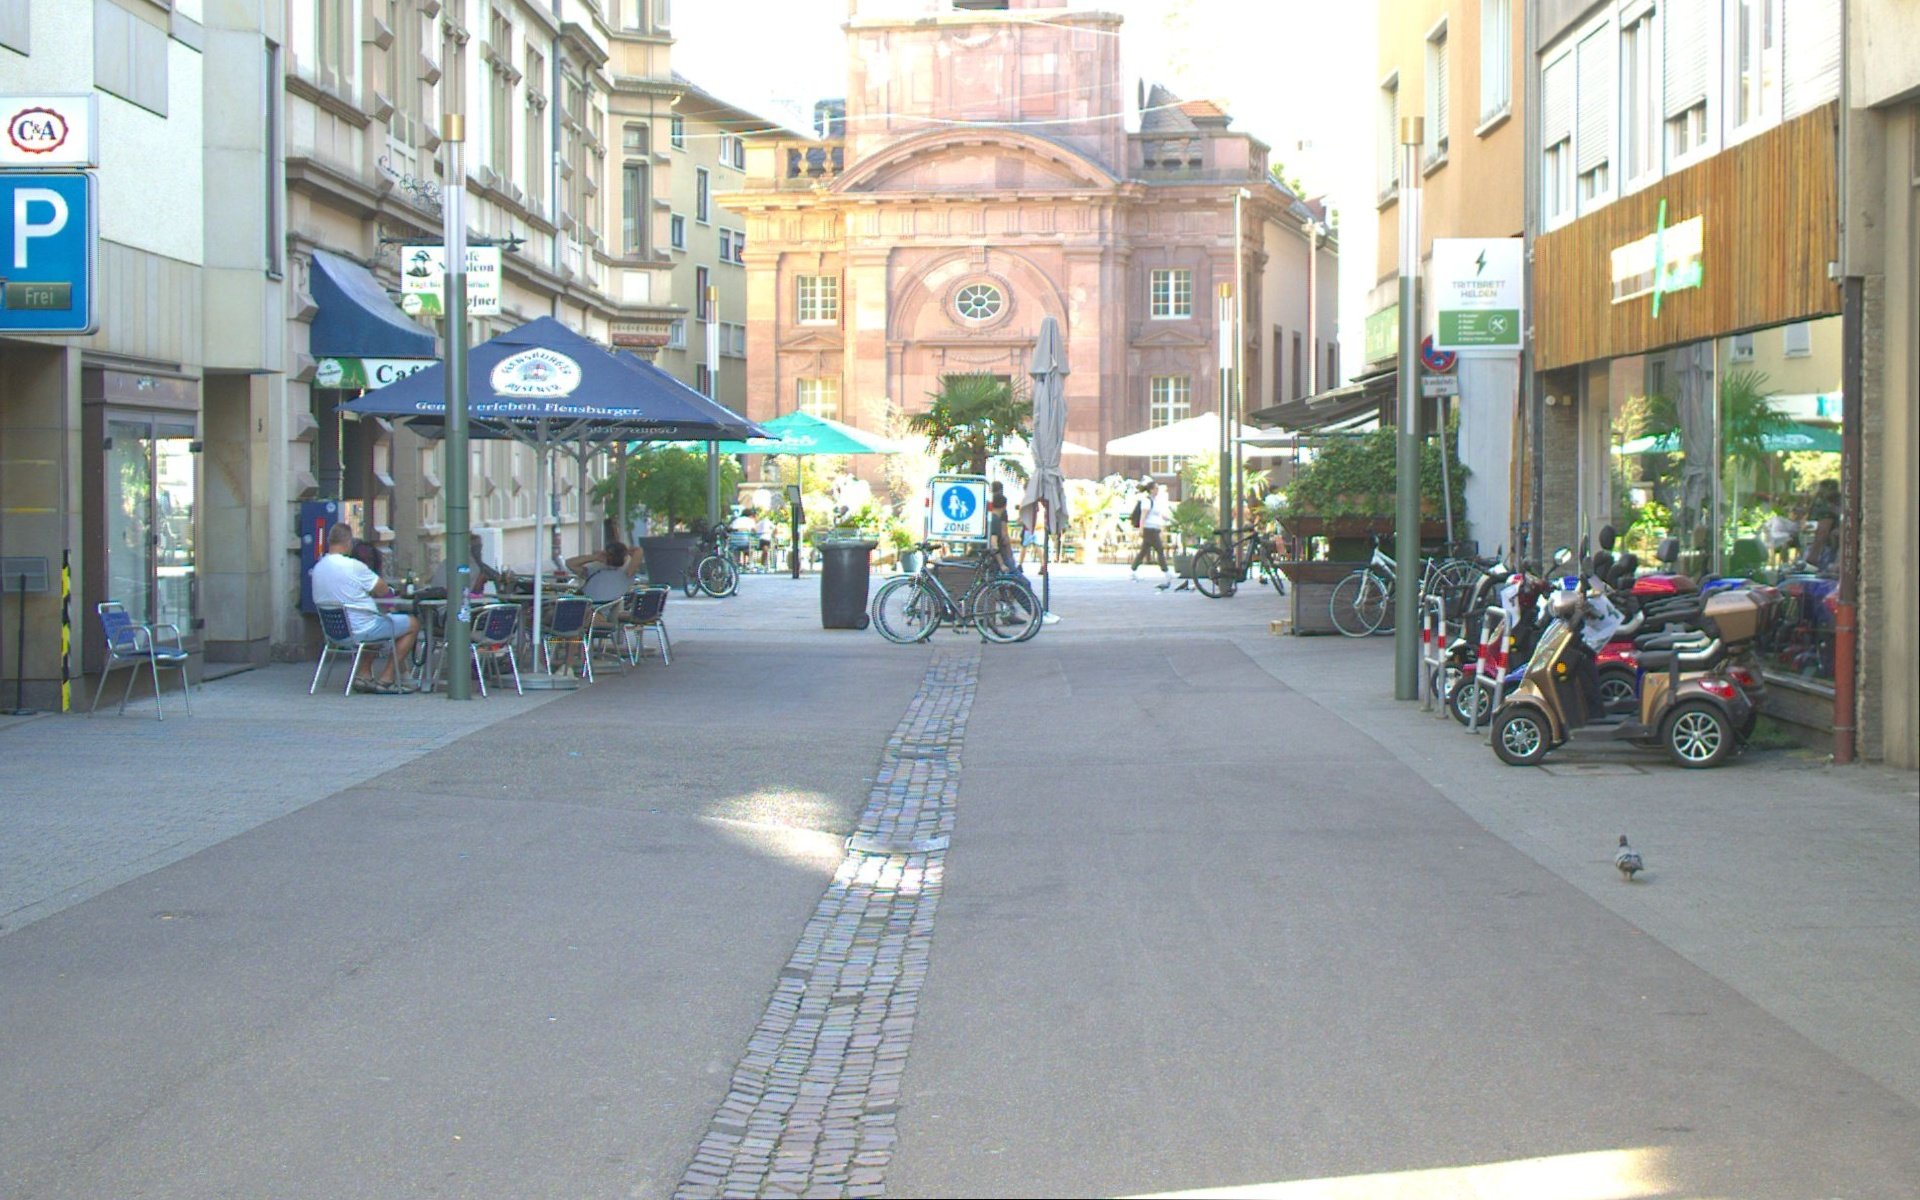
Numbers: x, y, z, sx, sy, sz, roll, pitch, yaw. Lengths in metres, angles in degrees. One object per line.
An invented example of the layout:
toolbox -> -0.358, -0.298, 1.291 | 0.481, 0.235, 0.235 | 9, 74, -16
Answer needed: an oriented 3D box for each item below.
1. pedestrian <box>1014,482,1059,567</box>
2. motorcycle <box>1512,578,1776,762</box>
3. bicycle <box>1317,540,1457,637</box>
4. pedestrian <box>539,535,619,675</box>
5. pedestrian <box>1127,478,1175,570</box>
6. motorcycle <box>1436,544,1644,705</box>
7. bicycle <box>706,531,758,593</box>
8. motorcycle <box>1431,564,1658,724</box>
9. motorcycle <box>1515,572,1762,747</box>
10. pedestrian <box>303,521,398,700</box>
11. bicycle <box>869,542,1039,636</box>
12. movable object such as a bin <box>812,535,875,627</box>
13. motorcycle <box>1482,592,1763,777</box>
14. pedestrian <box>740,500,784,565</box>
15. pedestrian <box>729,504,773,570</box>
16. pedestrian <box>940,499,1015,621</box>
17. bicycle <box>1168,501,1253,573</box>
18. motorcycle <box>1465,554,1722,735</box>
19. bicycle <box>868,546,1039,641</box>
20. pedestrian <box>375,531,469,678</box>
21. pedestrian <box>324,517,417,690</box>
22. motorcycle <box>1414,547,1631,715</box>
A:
pedestrian -> 1.472, -1.458, 66.198 | 0.611, 1.635, 0.658 | -1, 2, -32
motorcycle -> 4.108, 0.411, 20.658 | 1.518, 1.072, 0.412 | 0, 1, 19
bicycle -> 4.539, -0.124, 36.515 | 1.464, 1.001, 0.573 | 0, 2, 8
pedestrian -> -3.355, 0.036, 30.236 | 0.692, 1.211, 0.583 | 0, 2, -7
pedestrian -> 3.237, -1.284, 58.184 | 0.784, 1.550, 0.535 | 0, 2, 6
motorcycle -> 4.317, 0.173, 25.585 | 1.485, 1.177, 0.412 | 0, 1, 16
bicycle -> -3.268, -0.554, 49.454 | 0.456, 0.847, 2.146 | 0, 2, 4
motorcycle -> 4.011, 0.293, 23.610 | 1.485, 1.072, 0.412 | 0, 1, 19
motorcycle -> 4.280, 0.364, 21.689 | 1.485, 1.072, 0.412 | 0, 1, 19
pedestrian -> -4.746, 0.068, 26.739 | 0.708, 1.363, 0.720 | 0, 2, -11
bicycle -> -0.070, -0.119, 37.345 | 1.823, 1.001, 0.381 | 0, 2, -2
movable object such as a bin -> -1.363, -0.224, 40.285 | 0.721, 1.071, 0.374 | 0, 2, 0
motorcycle -> 3.836, 0.477, 19.921 | 1.565, 1.038, 0.372 | 0, 1, 19
pedestrian -> -3.738, -1.272, 64.932 | 0.700, 1.213, 0.719 | 0, 2, 7
pedestrian -> -3.864, -1.168, 63.505 | 0.700, 1.213, 0.719 | 0, 2, 7
pedestrian -> 0.214, -0.490, 41.498 | 0.884, 1.459, 0.731 | 0, 2, 2
bicycle -> 4.569, -1.160, 62.725 | 1.586, 1.303, 0.366 | -1, 2, -28
motorcycle -> 4.218, 0.287, 22.888 | 1.626, 1.171, 0.480 | 0, 1, 19
bicycle -> -0.070, -0.071, 36.958 | 1.823, 1.001, 0.381 | 0, 2, -2
pedestrian -> -4.616, 0.029, 29.533 | 0.765, 1.229, 0.831 | 0, 2, -7
pedestrian -> -4.751, 0.018, 27.670 | 0.717, 1.363, 0.710 | 0, 2, -11
motorcycle -> 4.012, 0.215, 24.517 | 1.485, 1.177, 0.412 | 0, 1, 16
